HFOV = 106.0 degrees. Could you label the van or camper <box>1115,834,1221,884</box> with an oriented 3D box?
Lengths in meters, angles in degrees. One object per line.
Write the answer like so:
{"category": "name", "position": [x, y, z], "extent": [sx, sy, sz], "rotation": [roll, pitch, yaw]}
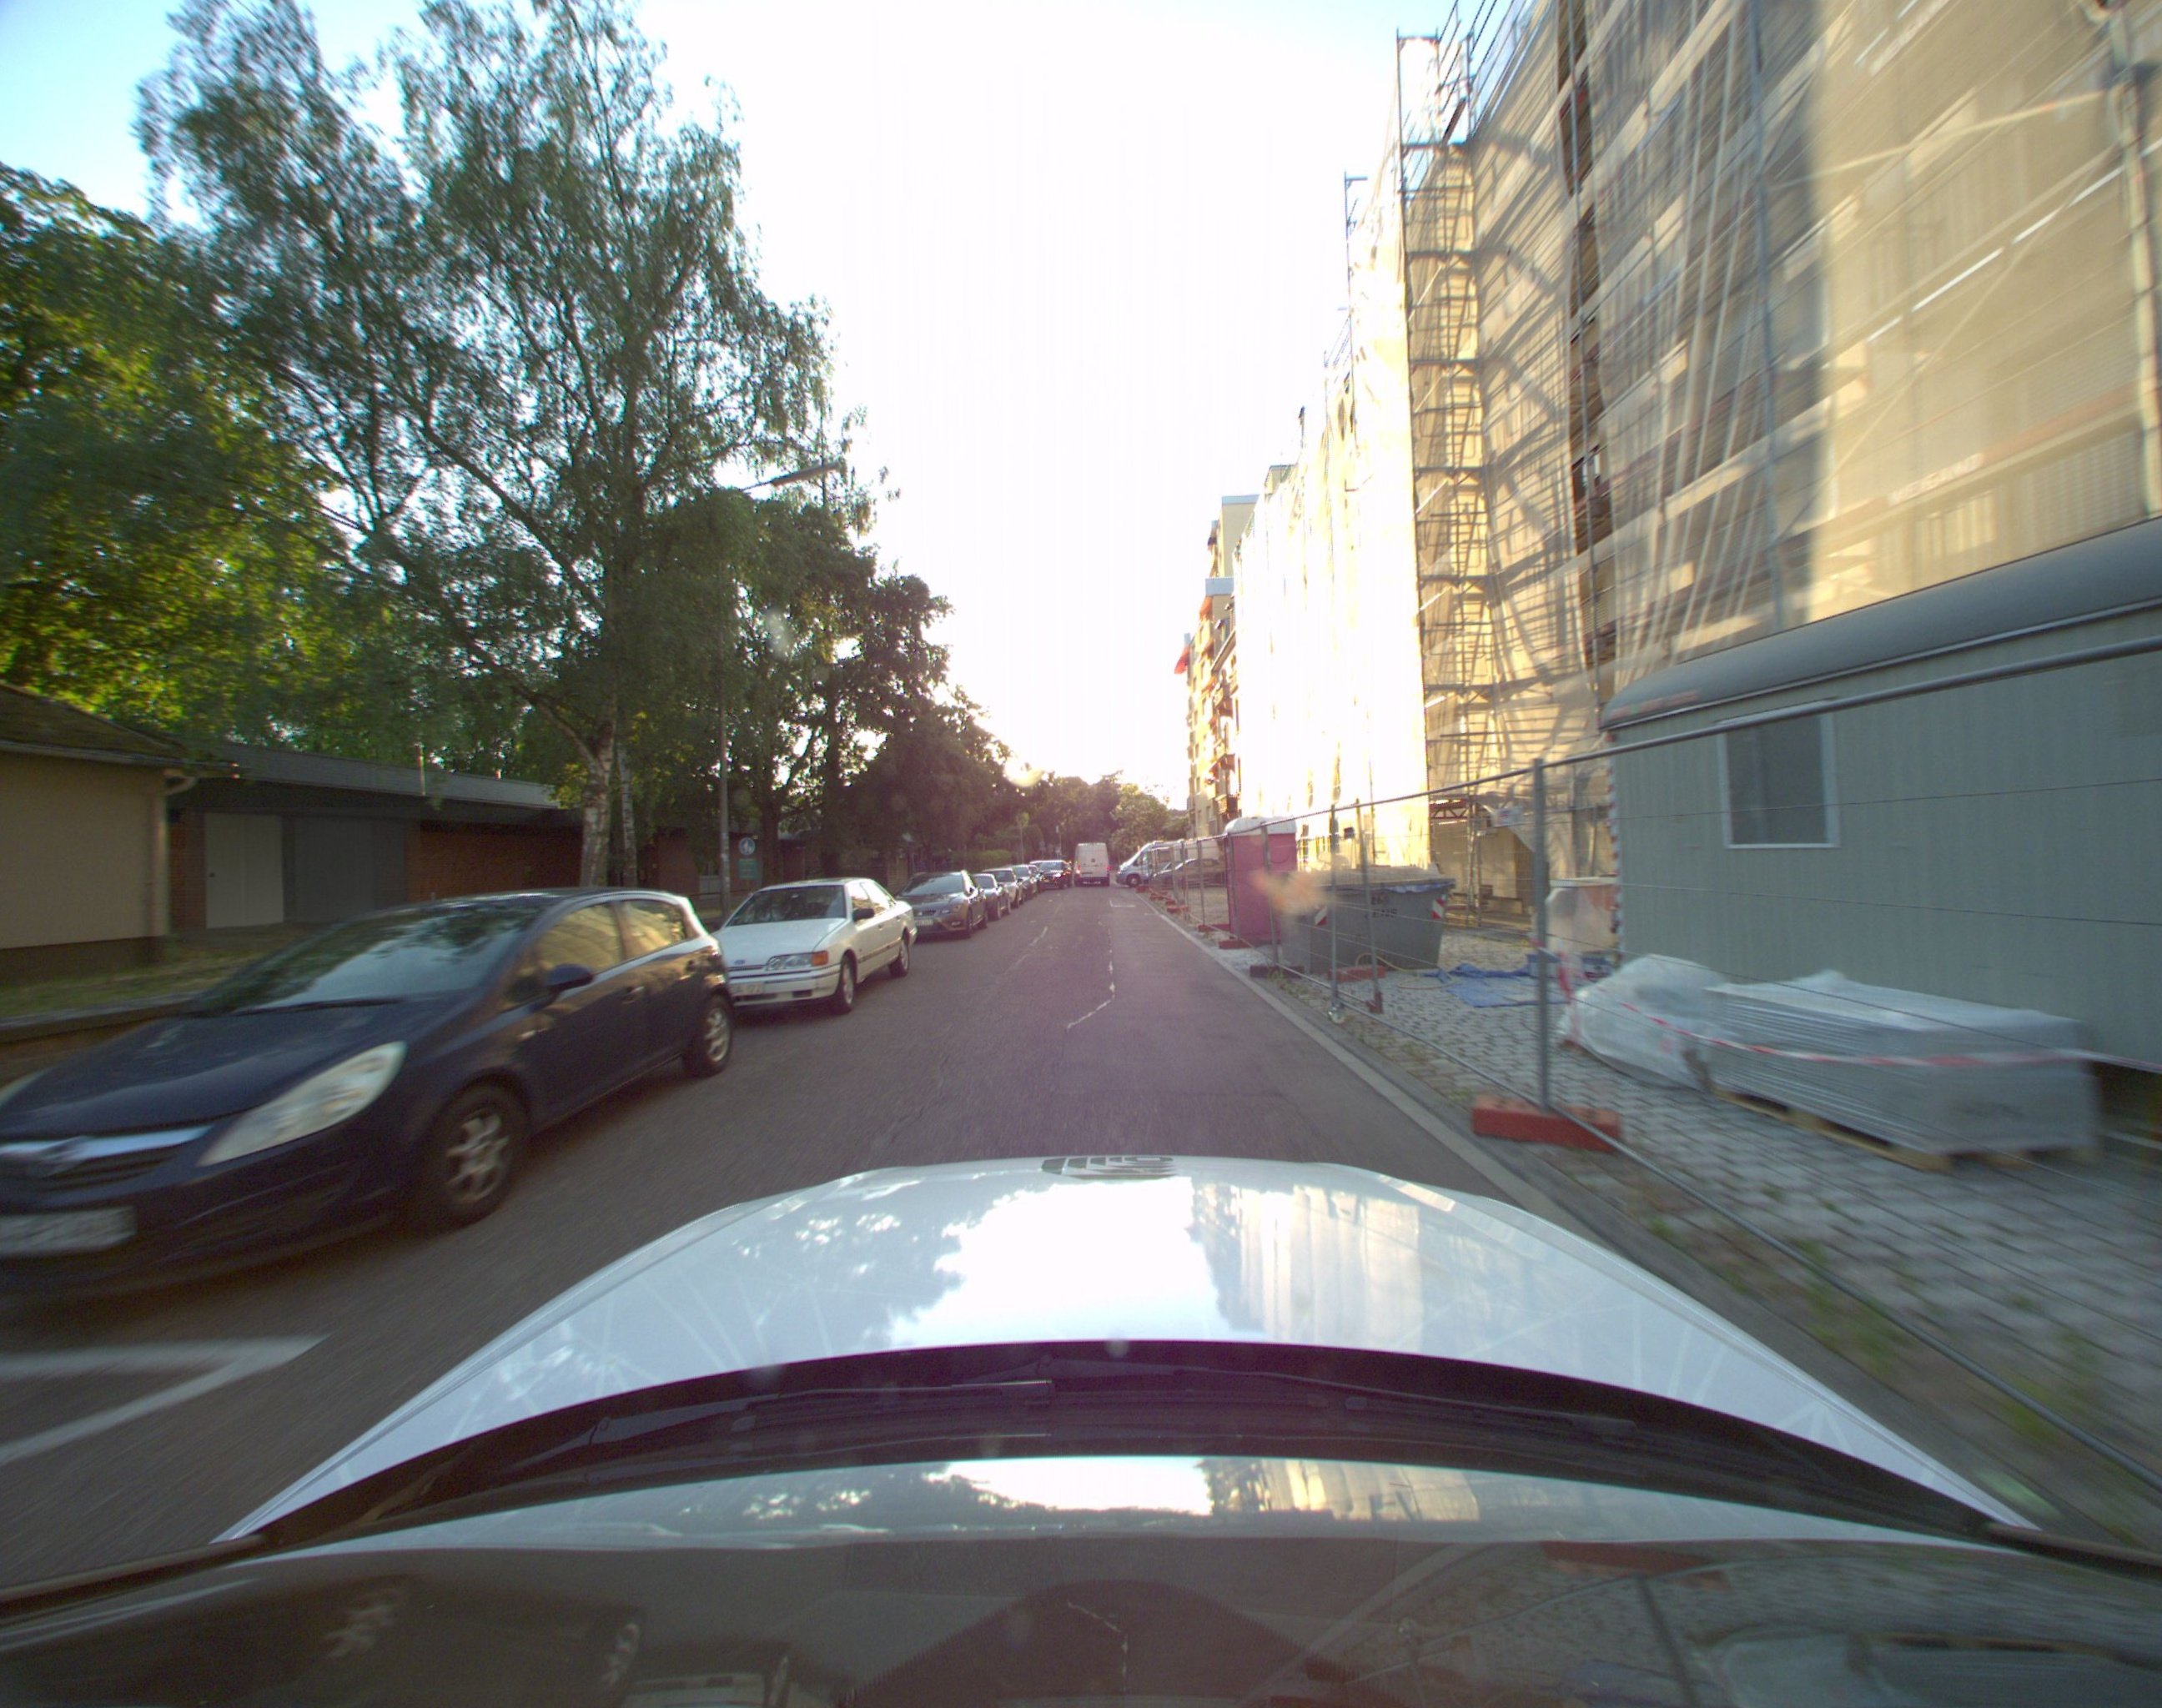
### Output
{"category": "van or camper", "position": [4.946, 0.283, 46.951], "extent": [5.910, 2.770, 2.109], "rotation": [-1, -1, -1]}

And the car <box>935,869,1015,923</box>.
{"category": "car", "position": [-3.020, 1.161, 23.939], "extent": [1.653, 1.313, 4.155], "rotation": [-3, 0, 1]}

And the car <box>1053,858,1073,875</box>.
{"category": "car", "position": [-1.790, 1.254, 83.576], "extent": [1.988, 1.618, 3.998], "rotation": [-1, 0, -1]}

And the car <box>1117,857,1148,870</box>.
{"category": "car", "position": [6.944, 1.277, 109.450], "extent": [3.978, 1.618, 1.998], "rotation": [-1, -1, -3]}

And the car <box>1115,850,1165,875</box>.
{"category": "car", "position": [5.476, 0.754, 76.046], "extent": [4.481, 2.230, 2.032], "rotation": [-1, -1, 0]}

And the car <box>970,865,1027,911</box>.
{"category": "car", "position": [-2.946, 1.173, 29.698], "extent": [1.596, 1.431, 3.802], "rotation": [-4, -1, 0]}

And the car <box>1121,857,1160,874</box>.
{"category": "car", "position": [6.345, 1.255, 87.175], "extent": [3.972, 1.728, 2.000], "rotation": [-1, -1, 1]}

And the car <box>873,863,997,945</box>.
{"category": "car", "position": [-3.154, 1.022, 18.597], "extent": [1.854, 1.538, 4.758], "rotation": [-3, 0, 0]}

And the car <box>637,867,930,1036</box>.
{"category": "car", "position": [-3.269, 0.964, 10.128], "extent": [1.776, 1.445, 4.748], "rotation": [-4, 0, 0]}

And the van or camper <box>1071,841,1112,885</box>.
{"category": "van or camper", "position": [0.686, 0.556, 50.963], "extent": [2.445, 2.547, 6.084], "rotation": [0, 0, 1]}

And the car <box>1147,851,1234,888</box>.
{"category": "car", "position": [5.507, 0.776, 41.327], "extent": [3.979, 1.515, 2.017], "rotation": [-4, 0, -4]}

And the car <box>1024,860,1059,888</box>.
{"category": "car", "position": [-2.527, 1.251, 52.785], "extent": [1.776, 1.631, 4.003], "rotation": [-4, -1, 3]}

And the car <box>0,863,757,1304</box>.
{"category": "car", "position": [-3.652, 0.811, 4.775], "extent": [1.988, 1.453, 3.997], "rotation": [-1, 0, -2]}

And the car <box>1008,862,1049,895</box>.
{"category": "car", "position": [-2.603, 1.196, 41.265], "extent": [1.631, 1.478, 3.994], "rotation": [-3, -1, 2]}

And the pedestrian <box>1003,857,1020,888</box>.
{"category": "pedestrian", "position": [-4.103, 1.104, 48.131], "extent": [0.935, 1.830, 0.786], "rotation": [-1, -1, -1]}

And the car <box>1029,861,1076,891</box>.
{"category": "car", "position": [-1.561, 1.198, 46.048], "extent": [1.794, 1.569, 4.575], "rotation": [-2, -1, 8]}

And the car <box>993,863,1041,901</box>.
{"category": "car", "position": [-2.790, 1.180, 36.107], "extent": [1.710, 1.496, 4.359], "rotation": [-3, 0, 0]}

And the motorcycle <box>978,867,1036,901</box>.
{"category": "motorcycle", "position": [-2.987, 1.213, 32.914], "extent": [2.148, 1.303, 0.883], "rotation": [-1, -1, 15]}
